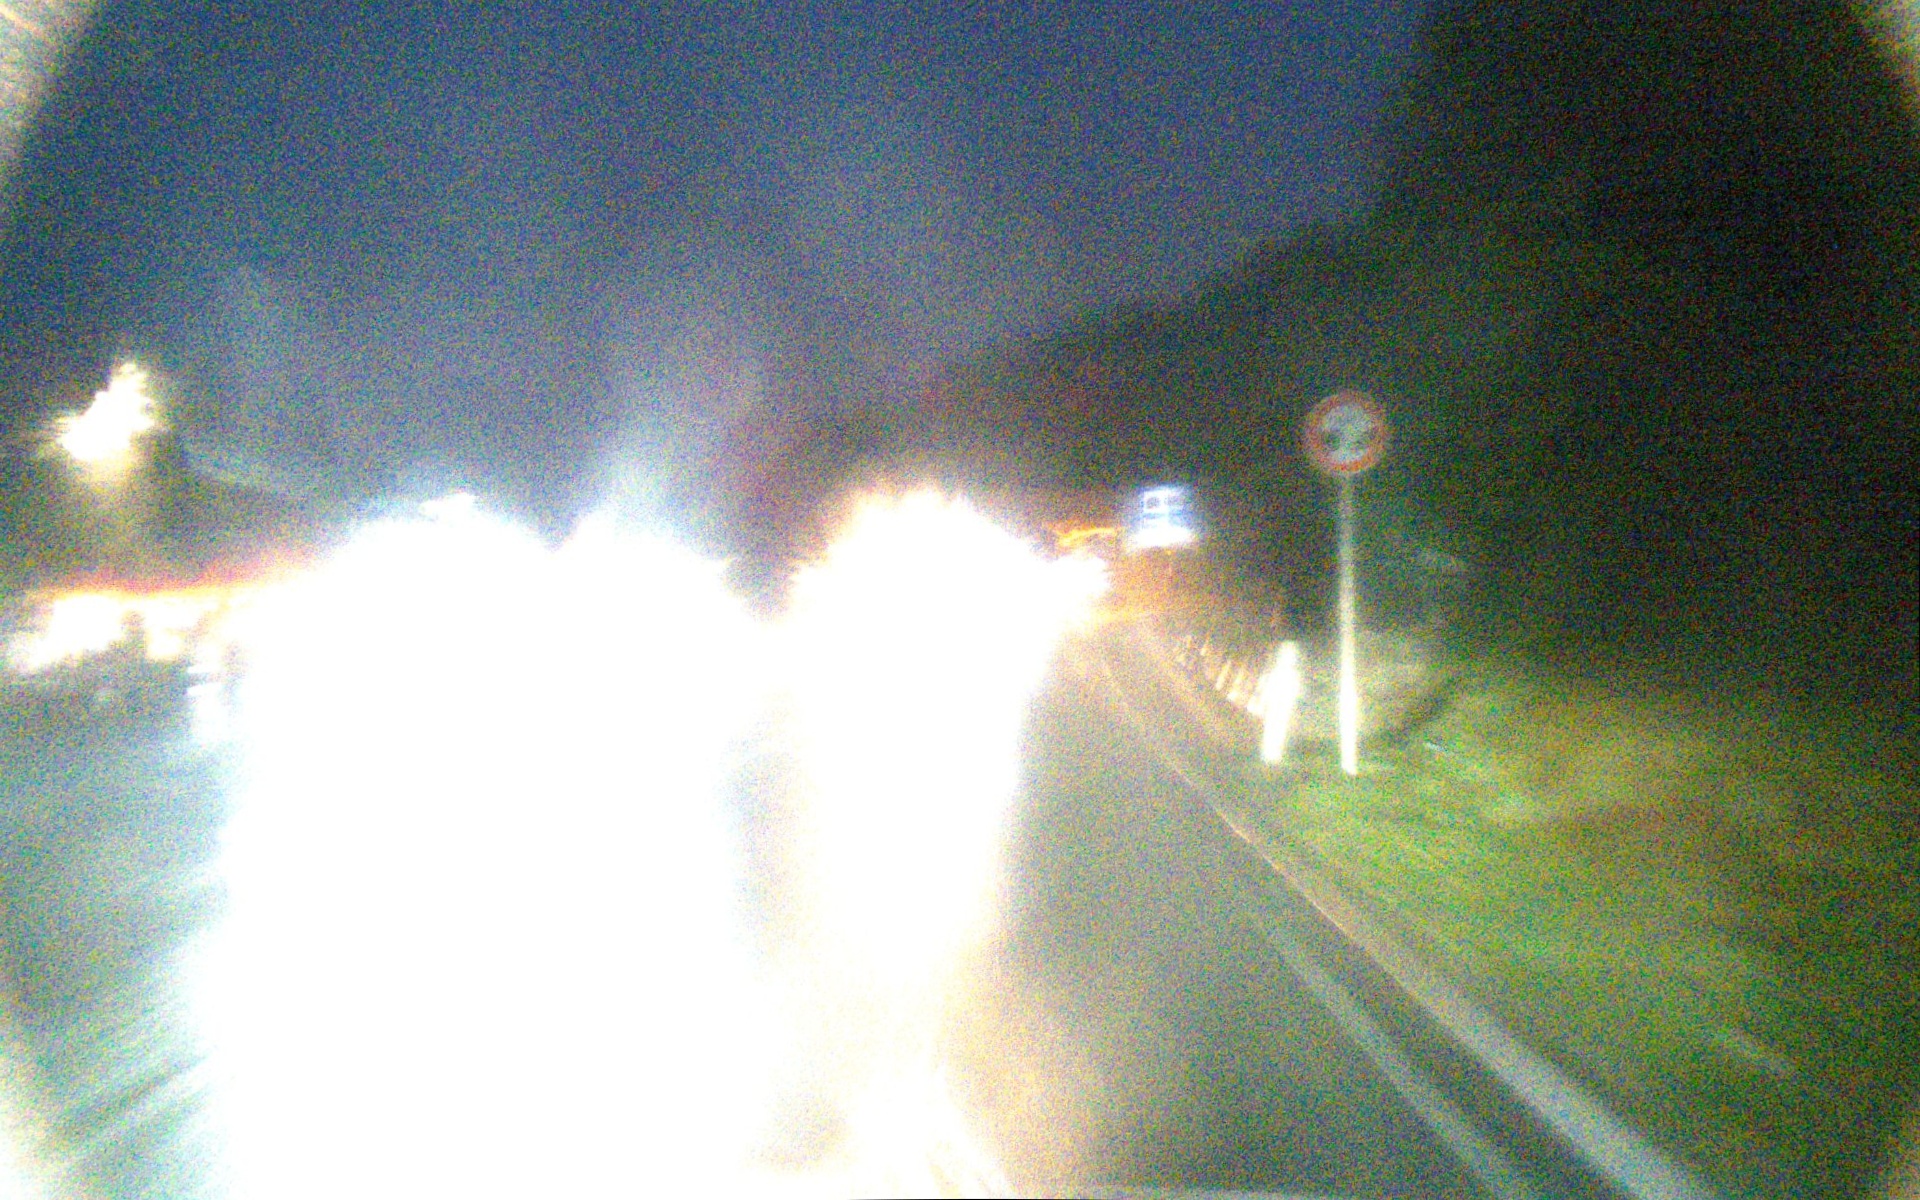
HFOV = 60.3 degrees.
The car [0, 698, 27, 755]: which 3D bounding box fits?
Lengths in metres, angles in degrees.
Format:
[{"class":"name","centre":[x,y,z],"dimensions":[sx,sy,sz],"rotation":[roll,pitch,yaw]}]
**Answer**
[{"class":"car","centre":[-27.665,3.606,44.557],"dimensions":[3.906,1.480,1.912],"rotation":[-5,-1,2]}]

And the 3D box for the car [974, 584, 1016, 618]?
[{"class":"car","centre":[1.515,0.053,70.659],"dimensions":[1.557,1.404,4.327],"rotation":[1,0,4]}]

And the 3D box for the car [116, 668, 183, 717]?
[{"class":"car","centre":[-30.375,3.449,61.947],"dimensions":[1.794,1.594,4.161],"rotation":[-4,-1,-31]}]

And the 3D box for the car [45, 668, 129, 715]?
[{"class":"car","centre":[-36.577,3.810,69.369],"dimensions":[1.646,1.646,3.511],"rotation":[-4,0,-2]}]

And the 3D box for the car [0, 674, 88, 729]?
[{"class":"car","centre":[-31.404,3.428,56.345],"dimensions":[1.962,1.594,4.831],"rotation":[-4,0,-17]}]

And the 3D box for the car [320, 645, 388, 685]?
[{"class":"car","centre":[-29.648,3.160,81.058],"dimensions":[1.736,1.623,4.000],"rotation":[-5,0,0]}]

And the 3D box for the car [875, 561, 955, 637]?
[{"class":"car","centre":[-1.232,-0.055,47.428],"dimensions":[1.852,2.037,4.883],"rotation":[2,1,3]}]

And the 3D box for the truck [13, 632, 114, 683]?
[{"class":"truck","centre":[-48.350,3.068,89.374],"dimensions":[2.274,2.506,6.487],"rotation":[1,0,-4]}]

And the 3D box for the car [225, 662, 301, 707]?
[{"class":"car","centre":[-29.341,3.531,69.715],"dimensions":[1.711,1.646,3.511],"rotation":[-4,0,-2]}]
